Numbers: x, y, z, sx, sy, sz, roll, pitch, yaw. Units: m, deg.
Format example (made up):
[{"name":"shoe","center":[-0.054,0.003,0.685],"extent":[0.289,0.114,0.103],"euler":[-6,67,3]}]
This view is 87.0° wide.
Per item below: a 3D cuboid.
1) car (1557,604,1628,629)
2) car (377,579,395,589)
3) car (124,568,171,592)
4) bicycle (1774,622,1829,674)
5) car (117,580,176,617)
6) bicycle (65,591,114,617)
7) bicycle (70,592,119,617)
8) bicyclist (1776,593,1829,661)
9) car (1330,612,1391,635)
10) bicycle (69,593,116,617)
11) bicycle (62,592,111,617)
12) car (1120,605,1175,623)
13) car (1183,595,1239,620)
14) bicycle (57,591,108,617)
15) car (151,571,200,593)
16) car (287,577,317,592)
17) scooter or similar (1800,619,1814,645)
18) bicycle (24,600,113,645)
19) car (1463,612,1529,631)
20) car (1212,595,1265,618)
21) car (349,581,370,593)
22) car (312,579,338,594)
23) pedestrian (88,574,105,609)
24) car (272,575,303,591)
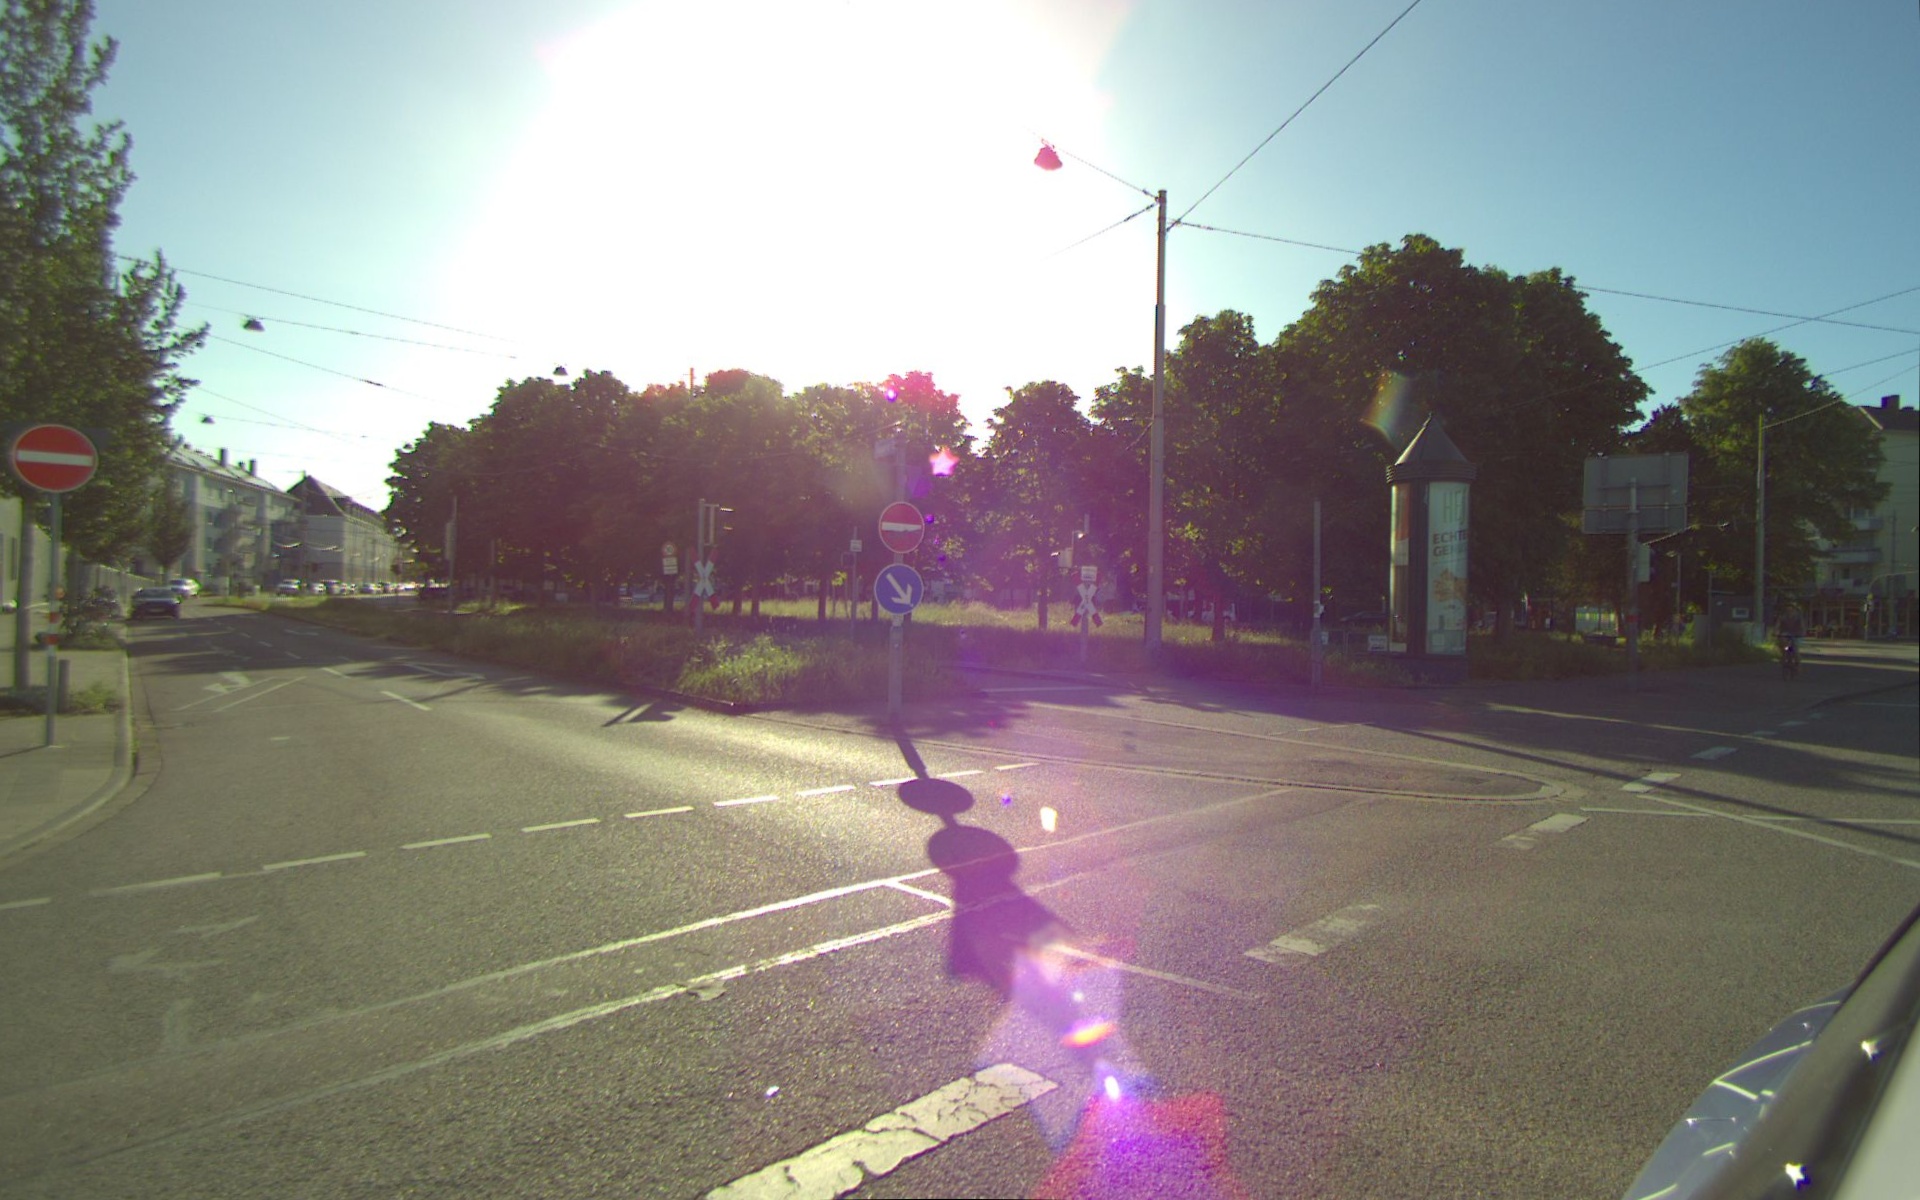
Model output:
[{"name":"car","center":[49.227,1.277,78.836],"extent":[4.173,1.881,1.998],"euler":[-1,-1,4]},{"name":"car","center":[-97.915,-2.697,172.609],"extent":[1.958,1.661,4.007],"euler":[-1,0,-20]},{"name":"car","center":[-60.933,-1.508,75.943],"extent":[1.959,1.661,4.005],"euler":[-1,0,-27]},{"name":"bicycle","center":[20.832,1.158,25.049],"extent":[1.966,1.207,0.720],"euler":[1,0,-41]},{"name":"car","center":[-38.278,-0.060,47.709],"extent":[1.963,1.661,3.998],"euler":[-1,-1,-36]},{"name":"bicycle","center":[-34.820,0.158,40.506],"extent":[1.424,0.982,0.483],"euler":[-1,-1,-29]},{"name":"bicycle","center":[-35.028,0.164,40.958],"extent":[1.424,0.982,0.483],"euler":[-1,-1,-29]},{"name":"bicyclist","center":[20.927,0.667,25.134],"extent":[1.129,1.619,0.813],"euler":[2,0,-41]},{"name":"car","center":[32.295,1.886,81.620],"extent":[4.111,1.739,1.998],"euler":[-1,-1,4]},{"name":"bicycle","center":[-36.377,0.195,42.446],"extent":[1.424,0.982,0.483],"euler":[-1,-1,-29]},{"name":"bicycle","center":[-35.776,0.179,41.468],"extent":[1.424,0.982,0.483],"euler":[-1,-1,-29]},{"name":"car","center":[15.617,1.183,84.450],"extent":[4.301,1.446,1.689],"euler":[-1,-1,5]},{"name":"car","center":[20.710,0.611,83.621],"extent":[4.256,1.989,1.907],"euler":[-1,-1,5]},{"name":"bicycle","center":[-34.455,0.148,39.758],"extent":[1.424,0.982,0.483],"euler":[-1,-1,-29]},{"name":"car","center":[-63.289,-1.437,81.737],"extent":[1.958,1.661,4.007],"euler":[-1,0,-19]},{"name":"car","center":[-75.811,-1.766,116.644],"extent":[1.958,1.661,4.007],"euler":[-1,0,-20]},{"name":"scooter or similar","center":[41.530,1.595,49.616],"extent":[0.383,1.233,1.808],"euler":[3,0,37]},{"name":"bicycle","center":[-20.213,0.507,22.965],"extent":[1.423,0.982,0.483],"euler":[-1,-1,-23]},{"name":"car","center":[42.226,1.701,79.796],"extent":[4.111,1.365,1.998],"euler":[-1,0,4]},{"name":"car","center":[24.608,0.562,89.470],"extent":[4.111,1.943,1.998],"euler":[-1,-1,4]},{"name":"car","center":[-87.937,-1.839,148.279],"extent":[1.958,1.661,4.007],"euler":[-1,0,-20]},{"name":"car","center":[-79.103,-1.664,126.048],"extent":[1.958,1.661,4.007],"euler":[-1,0,-20]},{"name":"pedestrian","center":[-42.387,-0.425,49.668],"extent":[0.651,1.723,0.599],"euler":[0,-1,-42]},{"name":"car","center":[-73.942,-1.824,111.247],"extent":[1.958,1.661,4.007],"euler":[-1,0,-20]}]
